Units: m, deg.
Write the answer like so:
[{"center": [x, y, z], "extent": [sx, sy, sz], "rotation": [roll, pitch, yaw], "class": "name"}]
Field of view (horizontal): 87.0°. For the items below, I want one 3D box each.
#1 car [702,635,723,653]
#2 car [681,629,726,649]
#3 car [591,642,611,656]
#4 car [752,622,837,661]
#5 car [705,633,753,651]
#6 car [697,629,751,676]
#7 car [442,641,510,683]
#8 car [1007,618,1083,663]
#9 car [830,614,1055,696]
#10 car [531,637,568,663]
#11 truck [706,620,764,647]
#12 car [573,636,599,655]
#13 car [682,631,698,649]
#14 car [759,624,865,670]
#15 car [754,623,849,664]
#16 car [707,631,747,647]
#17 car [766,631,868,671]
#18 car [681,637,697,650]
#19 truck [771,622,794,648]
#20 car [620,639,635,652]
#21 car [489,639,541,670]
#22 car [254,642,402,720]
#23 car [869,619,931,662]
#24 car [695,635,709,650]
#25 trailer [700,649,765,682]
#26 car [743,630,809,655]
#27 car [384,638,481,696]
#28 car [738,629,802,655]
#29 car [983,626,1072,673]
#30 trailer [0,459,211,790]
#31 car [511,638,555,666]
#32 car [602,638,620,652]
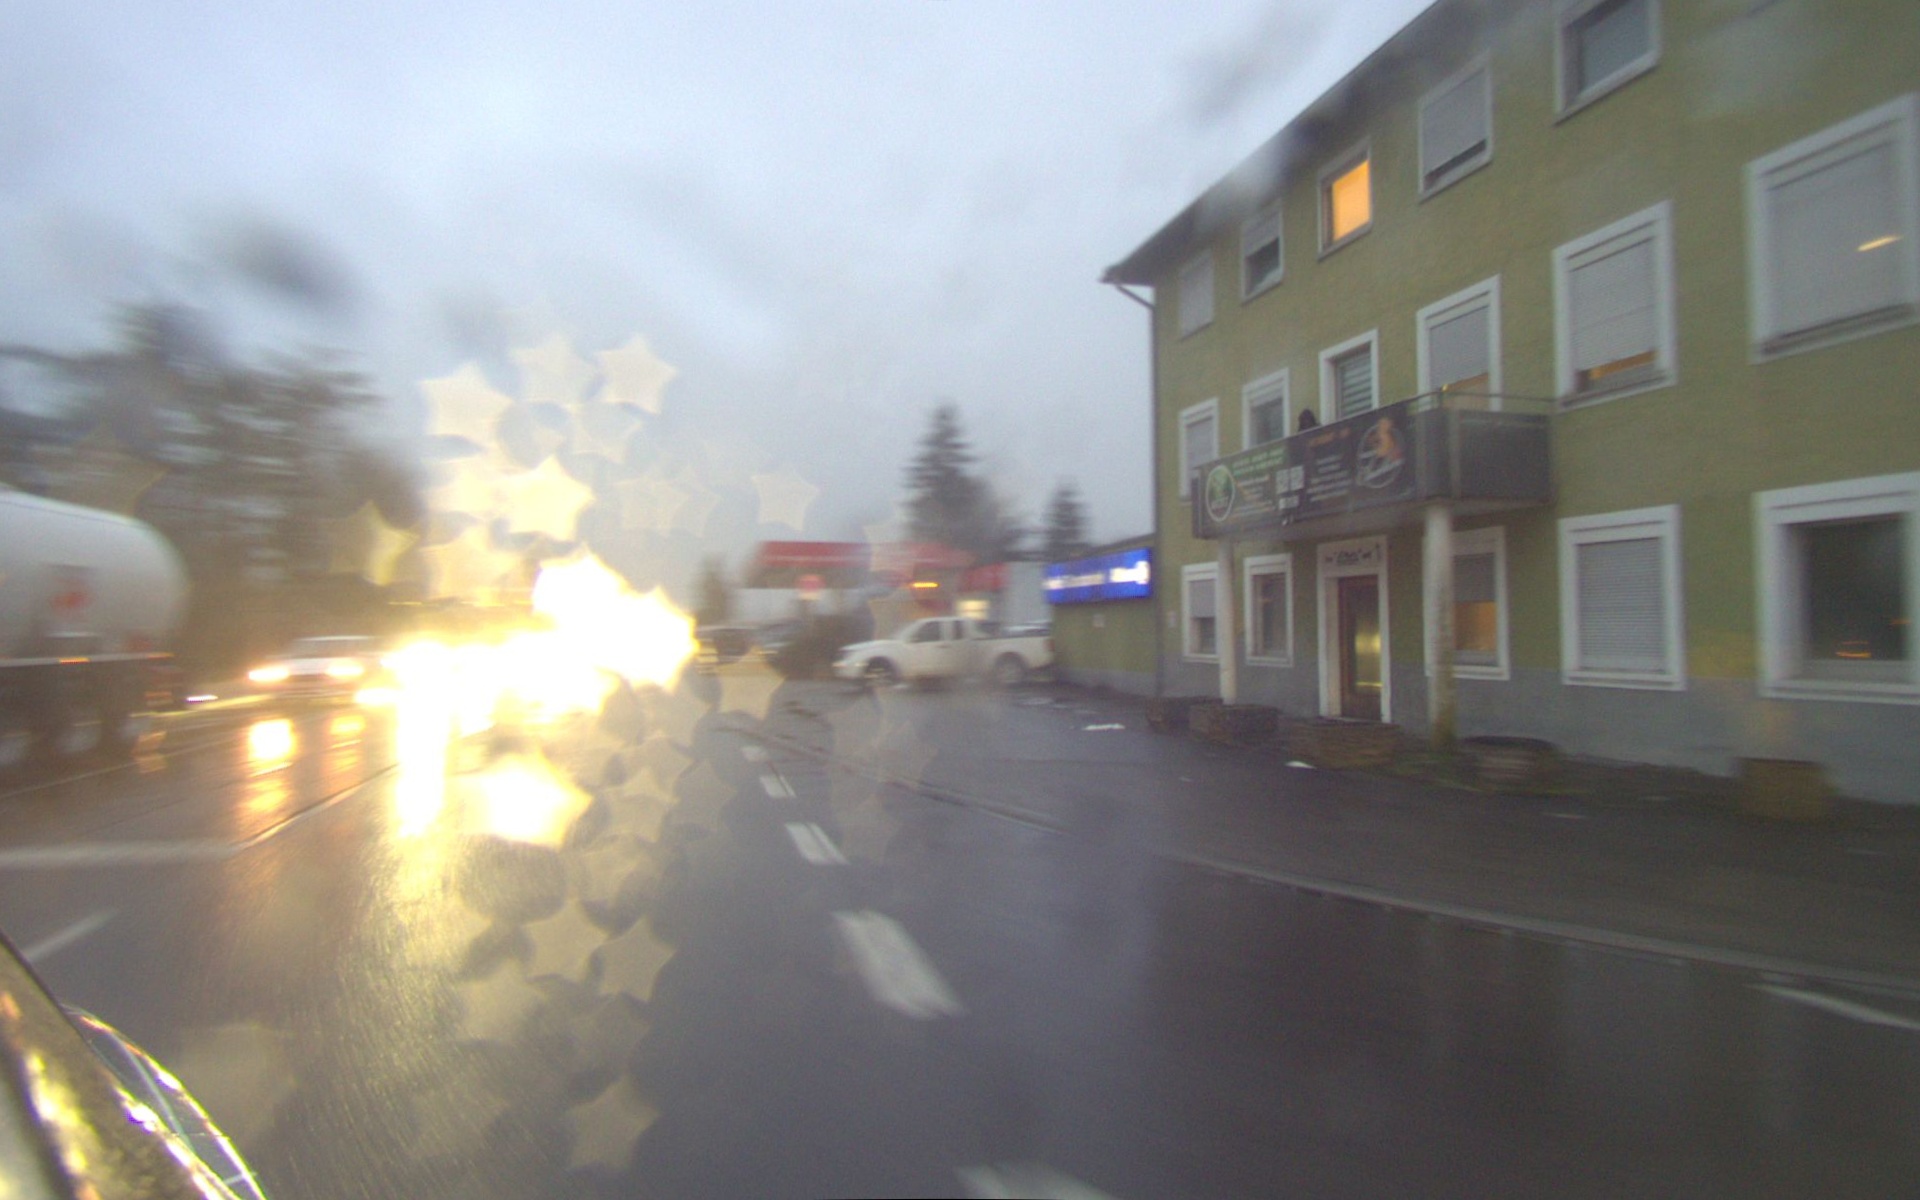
[{"center": [-20.773, 3.676, 85.003], "extent": [1.660, 1.431, 3.750], "rotation": [0, -2, -14], "class": "car"}, {"center": [-35.765, 5.426, 141.104], "extent": [6.071, 2.652, 2.182], "rotation": [1, -3, -16], "class": "car"}, {"center": [-39.751, 5.391, 112.035], "extent": [1.982, 1.504, 4.012], "rotation": [0, -2, -20], "class": "car"}, {"center": [-8.861, 2.216, 54.004], "extent": [4.218, 1.777, 2.006], "rotation": [-3, -1, -15], "class": "car"}, {"center": [-23.400, 4.236, 102.405], "extent": [4.470, 1.689, 2.017], "rotation": [-1, -2, -20], "class": "car"}, {"center": [-9.751, 2.128, 41.651], "extent": [1.943, 1.844, 4.525], "rotation": [1, -2, -16], "class": "car"}, {"center": [-18.851, 2.365, 39.575], "extent": [1.678, 1.483, 4.284], "rotation": [-1, -2, -16], "class": "car"}, {"center": [3.410, 1.636, 41.422], "extent": [1.773, 1.636, 4.011], "rotation": [-2, -1, -15], "class": "car"}, {"center": [-0.460, 1.289, 24.591], "extent": [5.119, 1.804, 2.005], "rotation": [0, -2, -14], "class": "car"}, {"center": [-26.148, 3.177, 64.551], "extent": [1.684, 1.588, 4.476], "rotation": [0, -2, -15], "class": "car"}, {"center": [-27.573, 4.136, 124.144], "extent": [6.764, 3.166, 2.341], "rotation": [0, -2, -17], "class": "truck"}, {"center": [-31.643, 3.868, 85.575], "extent": [1.982, 1.504, 4.012], "rotation": [-1, -2, -20], "class": "car"}, {"center": [-31.921, 4.721, 119.629], "extent": [1.810, 2.029, 4.495], "rotation": [-1, -2, -14], "class": "car"}, {"center": [-6.391, 1.999, 43.596], "extent": [4.218, 1.639, 2.006], "rotation": [-3, -1, -15], "class": "car"}, {"center": [-7.684, 2.062, 48.797], "extent": [4.218, 1.675, 2.142], "rotation": [-3, -1, -15], "class": "car"}, {"center": [-31.508, 5.267, 136.970], "extent": [5.075, 2.167, 2.064], "rotation": [1, -3, -16], "class": "car"}, {"center": [-5.760, 2.016, 40.612], "extent": [3.841, 1.439, 1.724], "rotation": [-1, -1, -15], "class": "car"}, {"center": [-30.557, 4.883, 114.085], "extent": [1.548, 1.331, 4.270], "rotation": [1, -1, -18], "class": "car"}, {"center": [-24.422, 4.870, 138.881], "extent": [2.002, 3.481, 5.870], "rotation": [2, -3, -20], "class": "truck"}, {"center": [-44.312, 6.021, 134.850], "extent": [1.859, 1.640, 4.012], "rotation": [-1, -2, -18], "class": "car"}, {"center": [-20.621, 2.495, 47.056], "extent": [1.630, 1.346, 4.284], "rotation": [-1, -2, -16], "class": "car"}, {"center": [-13.843, 1.701, 22.444], "extent": [1.639, 1.450, 4.394], "rotation": [-1, -1, -16], "class": "car"}, {"center": [-2.840, 1.858, 46.981], "extent": [1.966, 1.918, 4.012], "rotation": [0, -2, -16], "class": "car"}, {"center": [-28.245, 4.673, 110.895], "extent": [1.157, 1.657, 2.875], "rotation": [0, -3, -8], "class": "car"}, {"center": [-8.278, 2.309, 36.455], "extent": [1.966, 1.047, 6.121], "rotation": [1, -2, -16], "class": "trailer"}, {"center": [-11.341, 2.611, 62.338], "extent": [3.805, 1.452, 1.845], "rotation": [-1, -2, -16], "class": "car"}, {"center": [-16.446, 2.029, 31.787], "extent": [1.811, 1.580, 4.516], "rotation": [-2, -1, -16], "class": "car"}, {"center": [-12.182, 2.703, 64.791], "extent": [3.805, 1.571, 1.845], "rotation": [-1, -2, -16], "class": "car"}, {"center": [2.398, 1.776, 37.162], "extent": [1.966, 1.637, 4.012], "rotation": [0, -2, -16], "class": "car"}, {"center": [-10.427, 0.232, 8.873], "extent": [2.454, 3.265, 10.899], "rotation": [-1, -1, -15], "class": "trailer"}, {"center": [-23.213, 2.805, 55.174], "extent": [1.618, 1.377, 4.782], "rotation": [-1, -1, -15], "class": "car"}, {"center": [-43.089, 5.596, 124.905], "extent": [1.859, 1.640, 4.011], "rotation": [-1, -2, -16], "class": "car"}]
